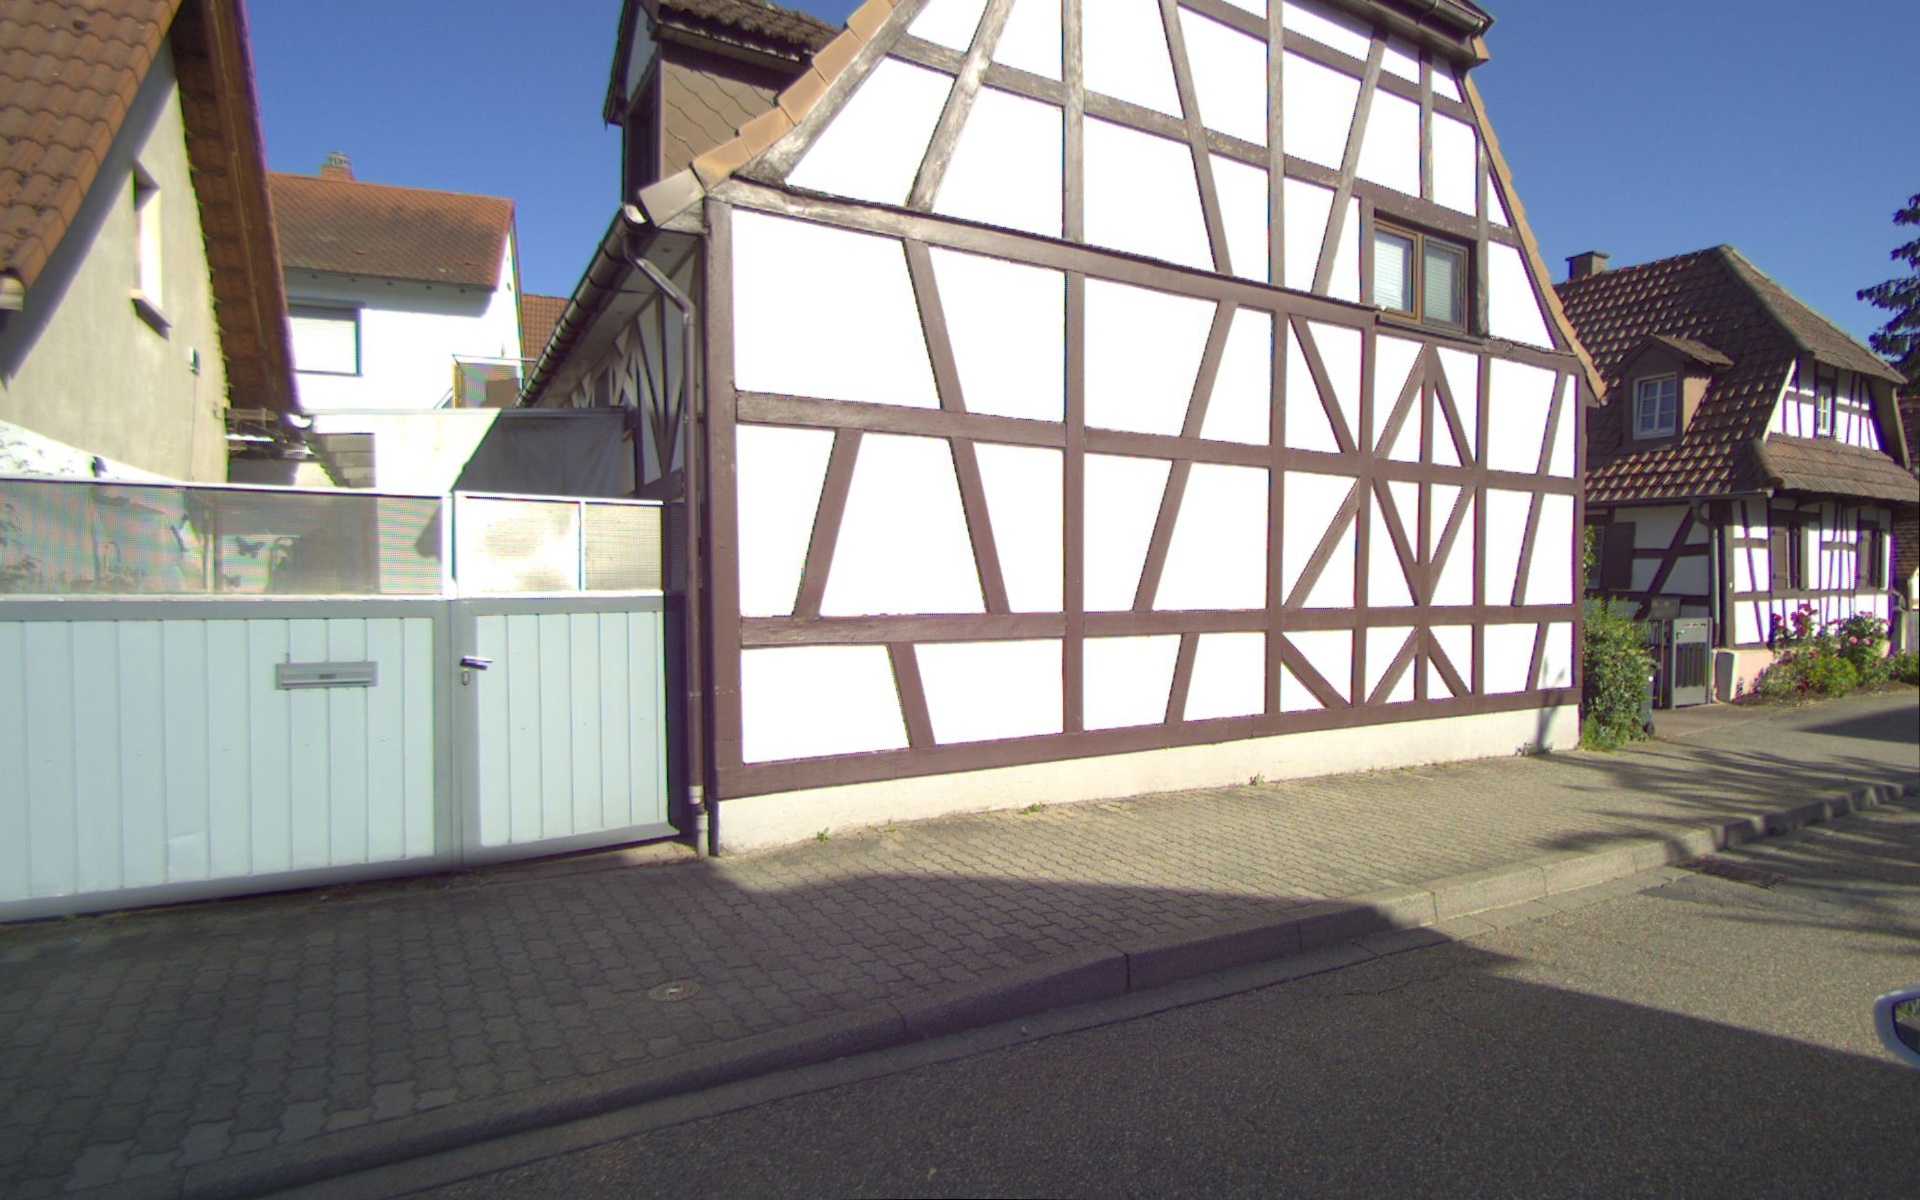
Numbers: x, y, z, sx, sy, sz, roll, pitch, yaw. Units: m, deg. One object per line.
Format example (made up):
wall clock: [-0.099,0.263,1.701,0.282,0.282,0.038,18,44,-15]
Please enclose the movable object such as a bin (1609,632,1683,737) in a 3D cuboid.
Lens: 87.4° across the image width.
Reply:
movable object such as a bin: [7.891,0.948,11.555,0.660,1.155,0.473,1,0,-32]
